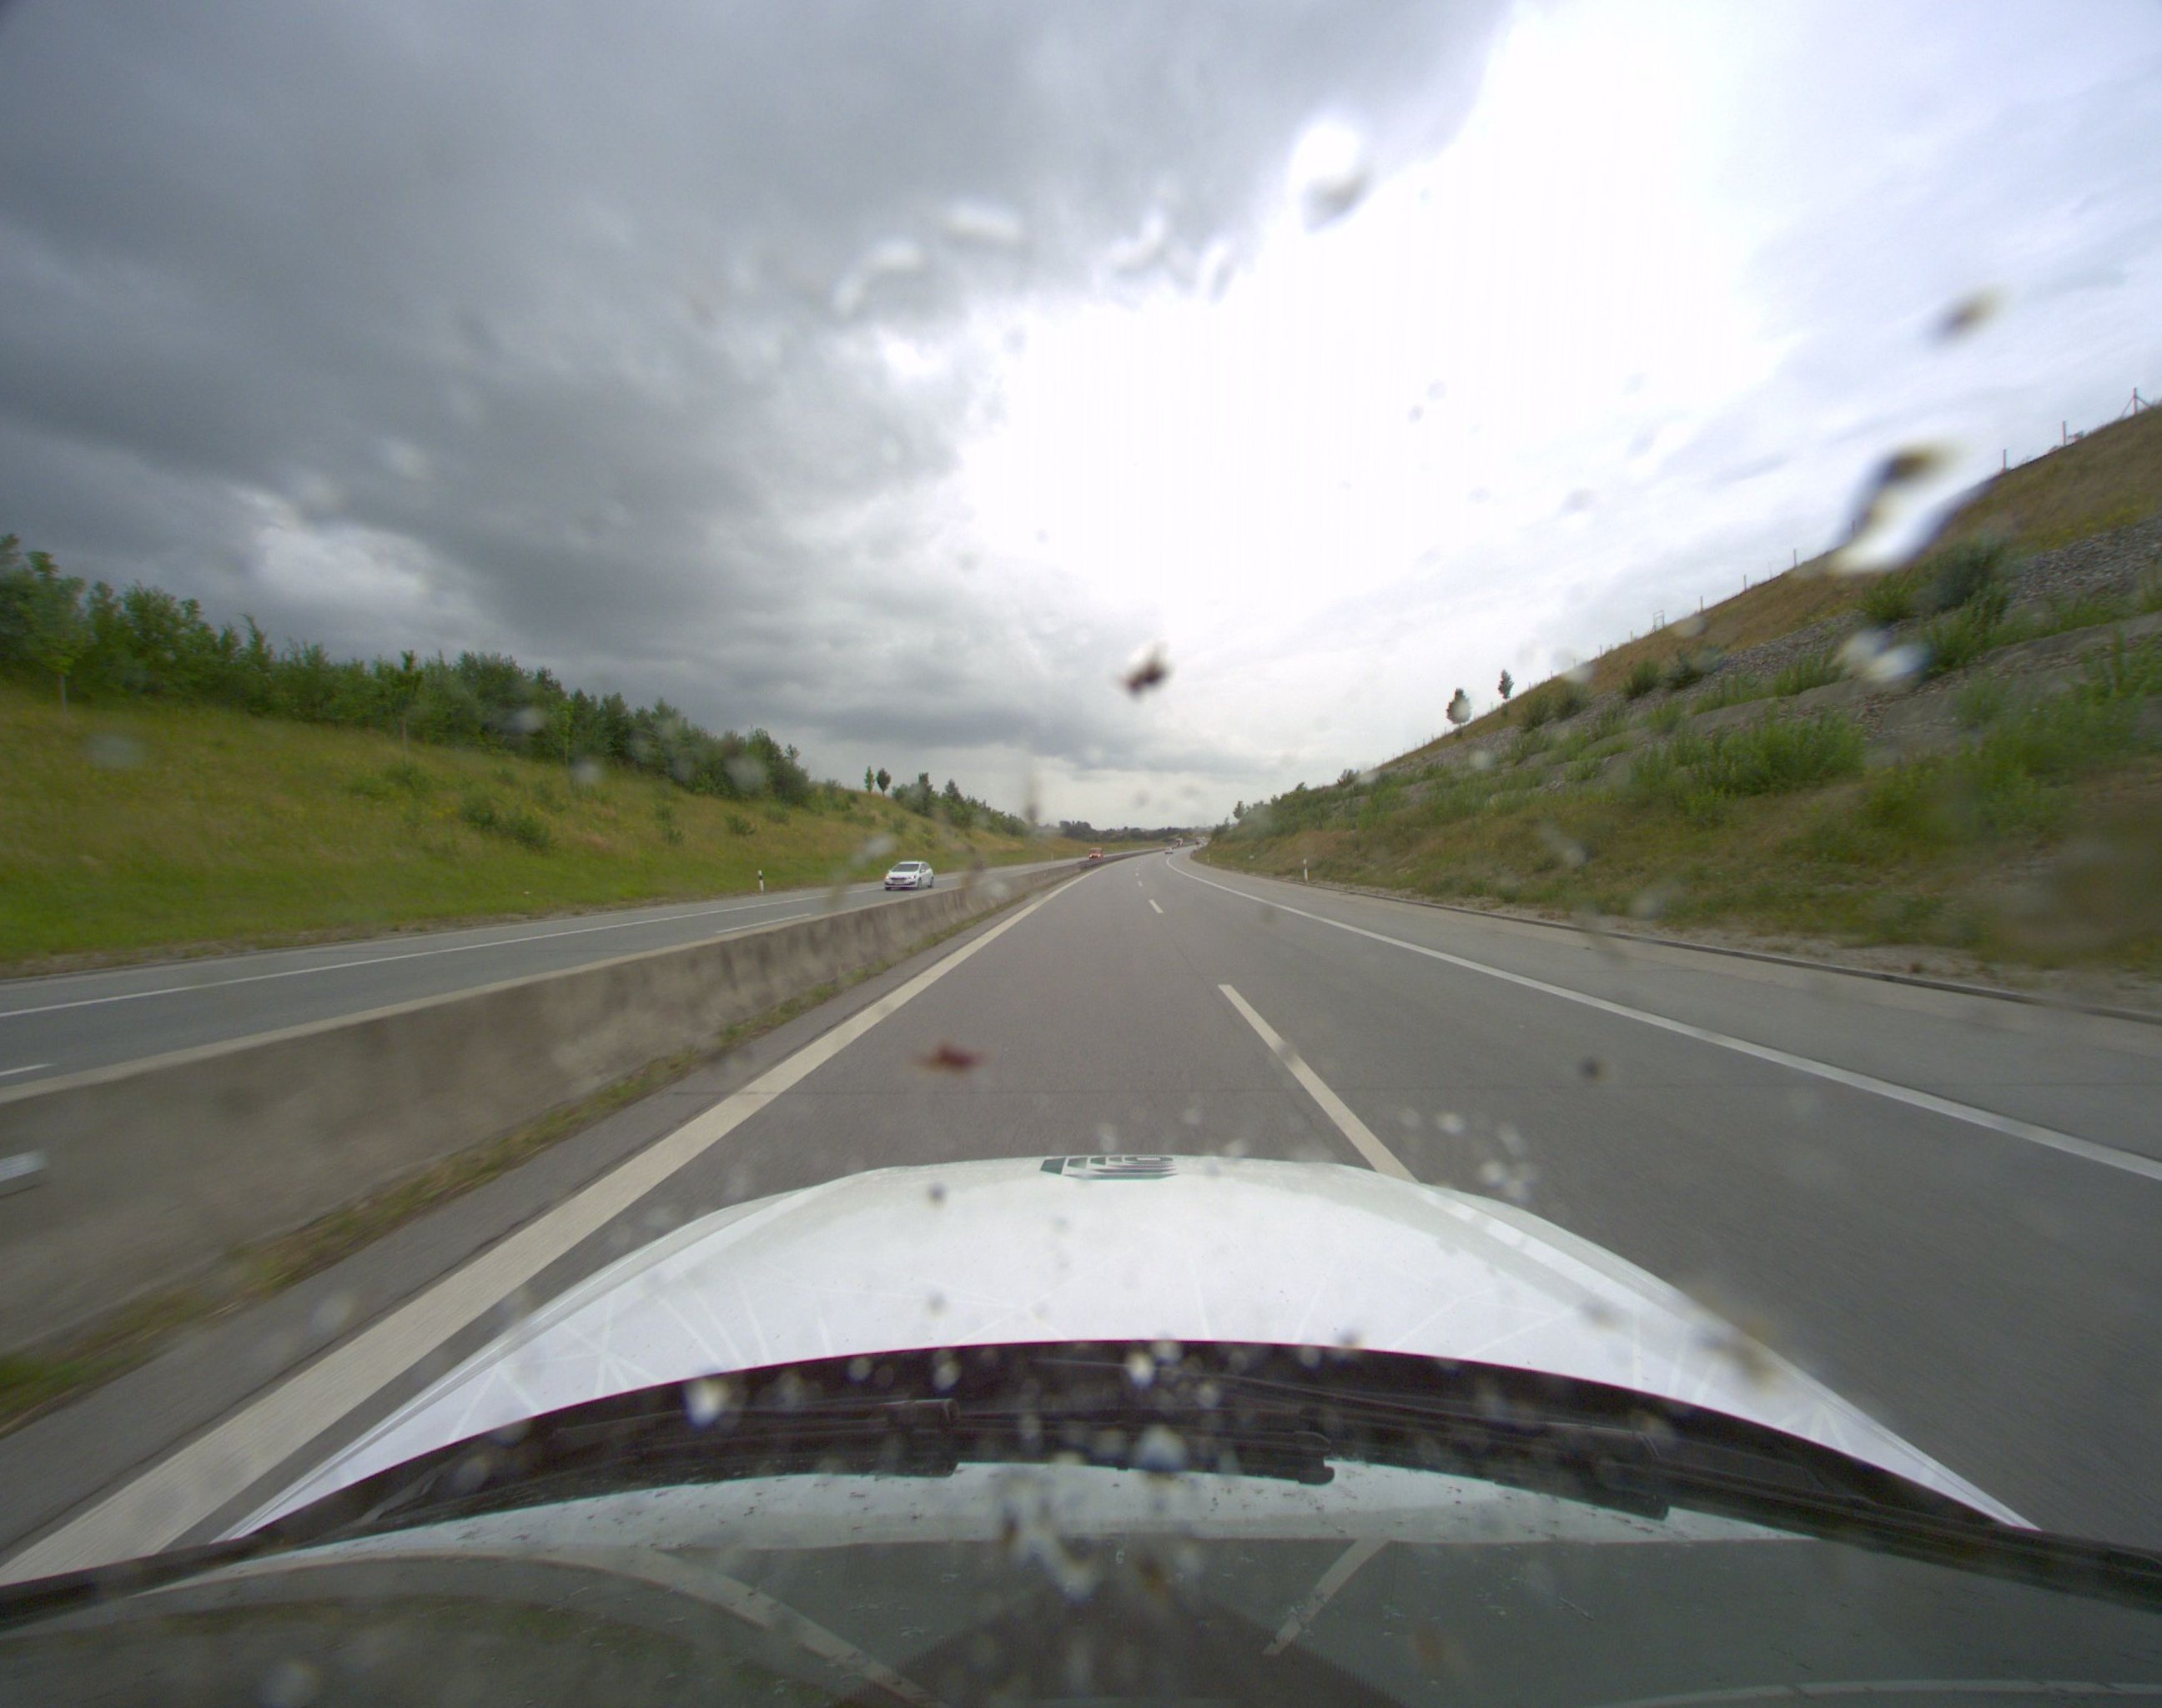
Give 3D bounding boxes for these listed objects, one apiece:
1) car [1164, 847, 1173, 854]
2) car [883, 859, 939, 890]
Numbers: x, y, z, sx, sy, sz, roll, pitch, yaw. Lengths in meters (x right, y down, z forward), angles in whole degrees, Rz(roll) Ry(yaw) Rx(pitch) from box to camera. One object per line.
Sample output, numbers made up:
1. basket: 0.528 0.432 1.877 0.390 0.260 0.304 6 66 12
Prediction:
1. car: 23.134 -0.861 215.635 1.949 1.651 4.002 -2 0 2
2. car: -8.962 1.043 43.331 1.767 1.440 5.018 -2 0 2
